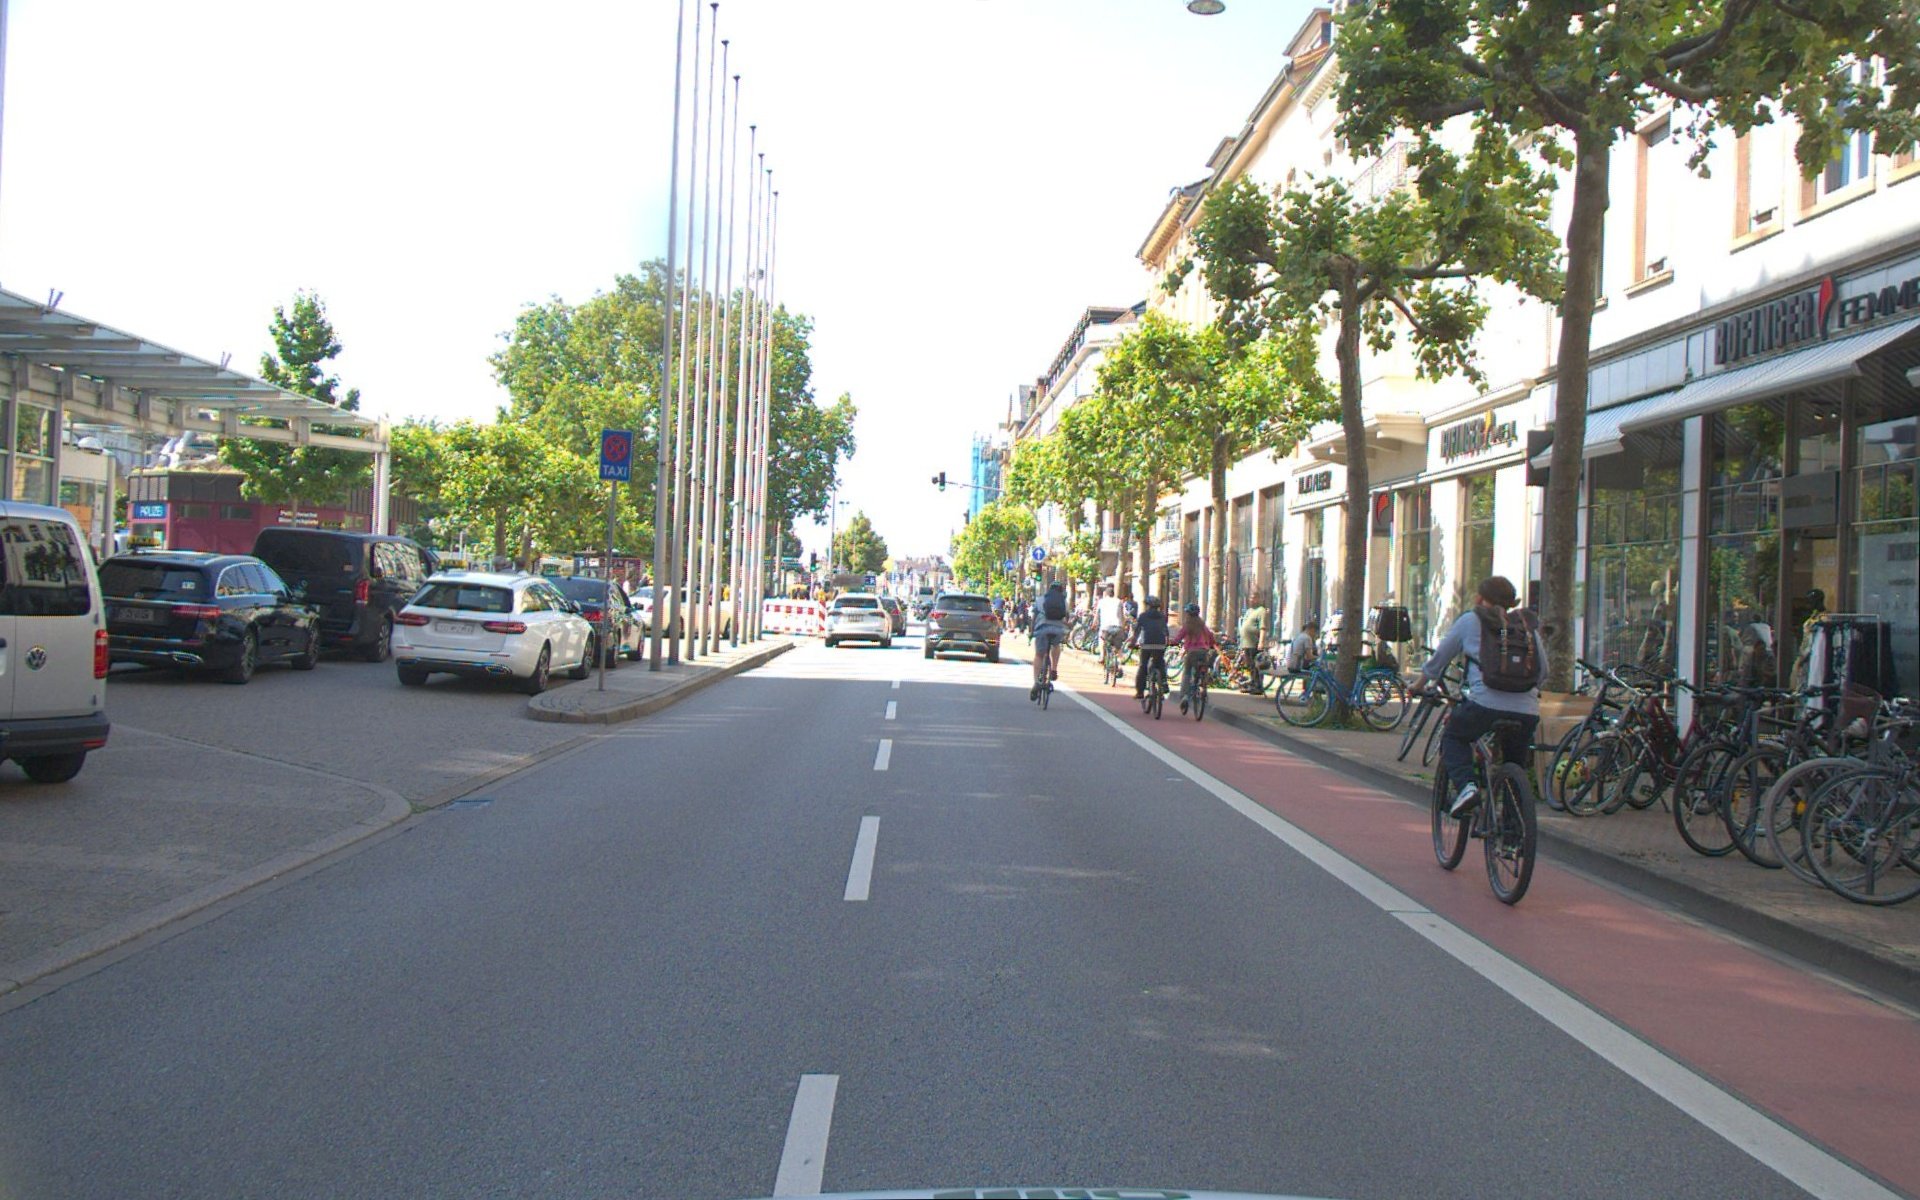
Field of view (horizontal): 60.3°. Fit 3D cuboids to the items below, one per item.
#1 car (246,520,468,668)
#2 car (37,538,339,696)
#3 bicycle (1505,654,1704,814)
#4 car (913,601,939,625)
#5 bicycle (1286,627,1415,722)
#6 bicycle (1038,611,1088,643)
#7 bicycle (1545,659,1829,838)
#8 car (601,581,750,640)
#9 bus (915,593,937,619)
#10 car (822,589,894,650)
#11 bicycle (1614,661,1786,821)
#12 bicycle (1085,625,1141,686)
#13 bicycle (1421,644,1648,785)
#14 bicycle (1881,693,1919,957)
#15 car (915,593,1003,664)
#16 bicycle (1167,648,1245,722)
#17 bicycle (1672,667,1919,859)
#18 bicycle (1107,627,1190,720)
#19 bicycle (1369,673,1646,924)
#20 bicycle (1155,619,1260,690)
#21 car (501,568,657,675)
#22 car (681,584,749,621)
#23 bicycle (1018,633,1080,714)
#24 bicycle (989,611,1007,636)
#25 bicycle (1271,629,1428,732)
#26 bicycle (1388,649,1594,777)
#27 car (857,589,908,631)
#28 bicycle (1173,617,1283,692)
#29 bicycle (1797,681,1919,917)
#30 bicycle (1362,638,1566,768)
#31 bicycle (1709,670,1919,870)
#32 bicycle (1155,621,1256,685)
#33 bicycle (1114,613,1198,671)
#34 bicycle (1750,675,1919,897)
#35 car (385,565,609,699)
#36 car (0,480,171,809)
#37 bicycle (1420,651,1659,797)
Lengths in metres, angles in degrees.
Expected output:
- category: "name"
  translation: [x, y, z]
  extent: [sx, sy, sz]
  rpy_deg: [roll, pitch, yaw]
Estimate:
- category: "car"
  translation: [-9.304, -0.089, 25.945]
  extent: [1.795, 2.049, 4.684]
  rpy_deg: [2, 0, -2]
- category: "car"
  translation: [-9.273, 0.192, 20.320]
  extent: [1.955, 1.638, 4.394]
  rpy_deg: [3, 0, -6]
- category: "bicycle"
  translation: [5.010, 1.011, 12.811]
  extent: [1.827, 1.147, 0.586]
  rpy_deg: [3, -2, -38]
- category: "car"
  translation: [-2.603, 0.951, 126.242]
  extent: [1.808, 1.697, 3.998]
  rpy_deg: [3, 0, -3]
- category: "bicycle"
  translation: [5.320, 1.019, 22.511]
  extent: [1.755, 1.218, 0.572]
  rpy_deg: [3, -1, -30]
- category: "bicycle"
  translation: [3.805, 0.994, 61.252]
  extent: [1.747, 1.142, 0.562]
  rpy_deg: [1, 0, -5]
- category: "bicycle"
  translation: [5.155, 1.025, 11.786]
  extent: [1.804, 1.147, 0.448]
  rpy_deg: [1, -1, 26]
- category: "car"
  translation: [-8.309, 0.313, 48.809]
  extent: [1.854, 1.568, 4.858]
  rpy_deg: [3, 0, 25]
- category: "bus"
  translation: [-5.004, 0.897, 243.210]
  extent: [2.935, 3.657, 11.738]
  rpy_deg: [2, -1, -2]
- category: "car"
  translation: [-2.792, 0.520, 45.948]
  extent: [1.808, 1.587, 3.999]
  rpy_deg: [1, 0, -1]
- category: "bicycle"
  translation: [5.742, 1.060, 12.783]
  extent: [1.828, 1.147, 0.442]
  rpy_deg: [3, -2, -39]
- category: "bicycle"
  translation: [2.825, 1.018, 30.791]
  extent: [0.759, 1.023, 2.329]
  rpy_deg: [2, 0, -1]
- category: "bicycle"
  translation: [5.257, 1.040, 15.146]
  extent: [1.809, 1.146, 0.762]
  rpy_deg: [4, -2, -15]
- category: "bicycle"
  translation: [5.122, 1.022, 7.226]
  extent: [1.802, 1.146, 0.679]
  rpy_deg: [2, -1, 0]
- category: "car"
  translation: [-0.067, 0.637, 39.522]
  extent: [1.809, 1.586, 3.997]
  rpy_deg: [1, 0, -4]
- category: "bicycle"
  translation: [3.321, 1.135, 22.489]
  extent: [0.588, 0.942, 2.085]
  rpy_deg: [1, -1, -5]
- category: "bicycle"
  translation: [5.523, 1.027, 10.497]
  extent: [1.802, 1.147, 0.448]
  rpy_deg: [2, -1, 1]
- category: "bicycle"
  translation: [2.571, 0.986, 22.761]
  extent: [0.685, 1.146, 2.079]
  rpy_deg: [3, 0, -5]
- category: "bicycle"
  translation: [3.038, 1.054, 9.432]
  extent: [0.685, 1.146, 2.079]
  rpy_deg: [3, 0, -5]
- category: "bicycle"
  translation: [4.471, 0.979, 29.911]
  extent: [1.801, 1.146, 0.498]
  rpy_deg: [3, -1, 9]
- category: "car"
  translation: [-6.427, 0.333, 28.369]
  extent: [1.726, 1.628, 4.707]
  rpy_deg: [2, 0, -3]
- category: "car"
  translation: [-14.142, 0.172, 95.686]
  extent: [1.820, 1.989, 4.762]
  rpy_deg: [2, -1, 19]
- category: "bicycle"
  translation: [1.211, 0.993, 22.869]
  extent: [0.617, 0.997, 2.088]
  rpy_deg: [2, 0, -2]
- category: "bicycle"
  translation: [1.581, 0.977, 69.079]
  extent: [0.634, 1.015, 2.030]
  rpy_deg: [2, 0, -2]
- category: "bicycle"
  translation: [4.898, 1.016, 20.831]
  extent: [1.806, 1.146, 0.496]
  rpy_deg: [4, 1, -10]
- category: "bicycle"
  translation: [5.098, 1.080, 15.883]
  extent: [1.808, 1.112, 0.563]
  rpy_deg: [3, -1, -13]
- category: "car"
  translation: [-2.868, 0.364, 61.363]
  extent: [1.808, 1.474, 3.998]
  rpy_deg: [1, 0, -2]
- category: "bicycle"
  translation: [4.665, 0.942, 28.851]
  extent: [1.801, 1.218, 0.674]
  rpy_deg: [3, 0, 5]
- category: "bicycle"
  translation: [5.486, 1.034, 8.522]
  extent: [1.943, 1.147, 0.762]
  rpy_deg: [1, -1, 11]
- category: "bicycle"
  translation: [4.988, 1.014, 16.379]
  extent: [1.808, 1.146, 0.630]
  rpy_deg: [4, -1, -13]
- category: "bicycle"
  translation: [5.555, 1.026, 10.039]
  extent: [1.802, 1.147, 0.448]
  rpy_deg: [2, -1, 1]
- category: "bicycle"
  translation: [4.673, 1.002, 31.573]
  extent: [1.801, 1.116, 0.794]
  rpy_deg: [3, 0, 3]
- category: "bicycle"
  translation: [4.454, 0.945, 37.676]
  extent: [1.802, 1.206, 0.670]
  rpy_deg: [3, -1, 3]
- category: "bicycle"
  translation: [5.479, 1.060, 9.235]
  extent: [1.801, 1.146, 0.530]
  rpy_deg: [4, -1, 11]
- category: "car"
  translation: [-6.156, 0.367, 22.579]
  extent: [1.763, 1.549, 4.737]
  rpy_deg: [3, 0, -2]
- category: "car"
  translation: [-7.428, 0.185, 11.031]
  extent: [4.356, 1.943, 2.003]
  rpy_deg: [3, 1, 35]
- category: "bicycle"
  translation: [4.946, 1.053, 14.163]
  extent: [1.803, 1.112, 0.564]
  rpy_deg: [3, -1, -2]
